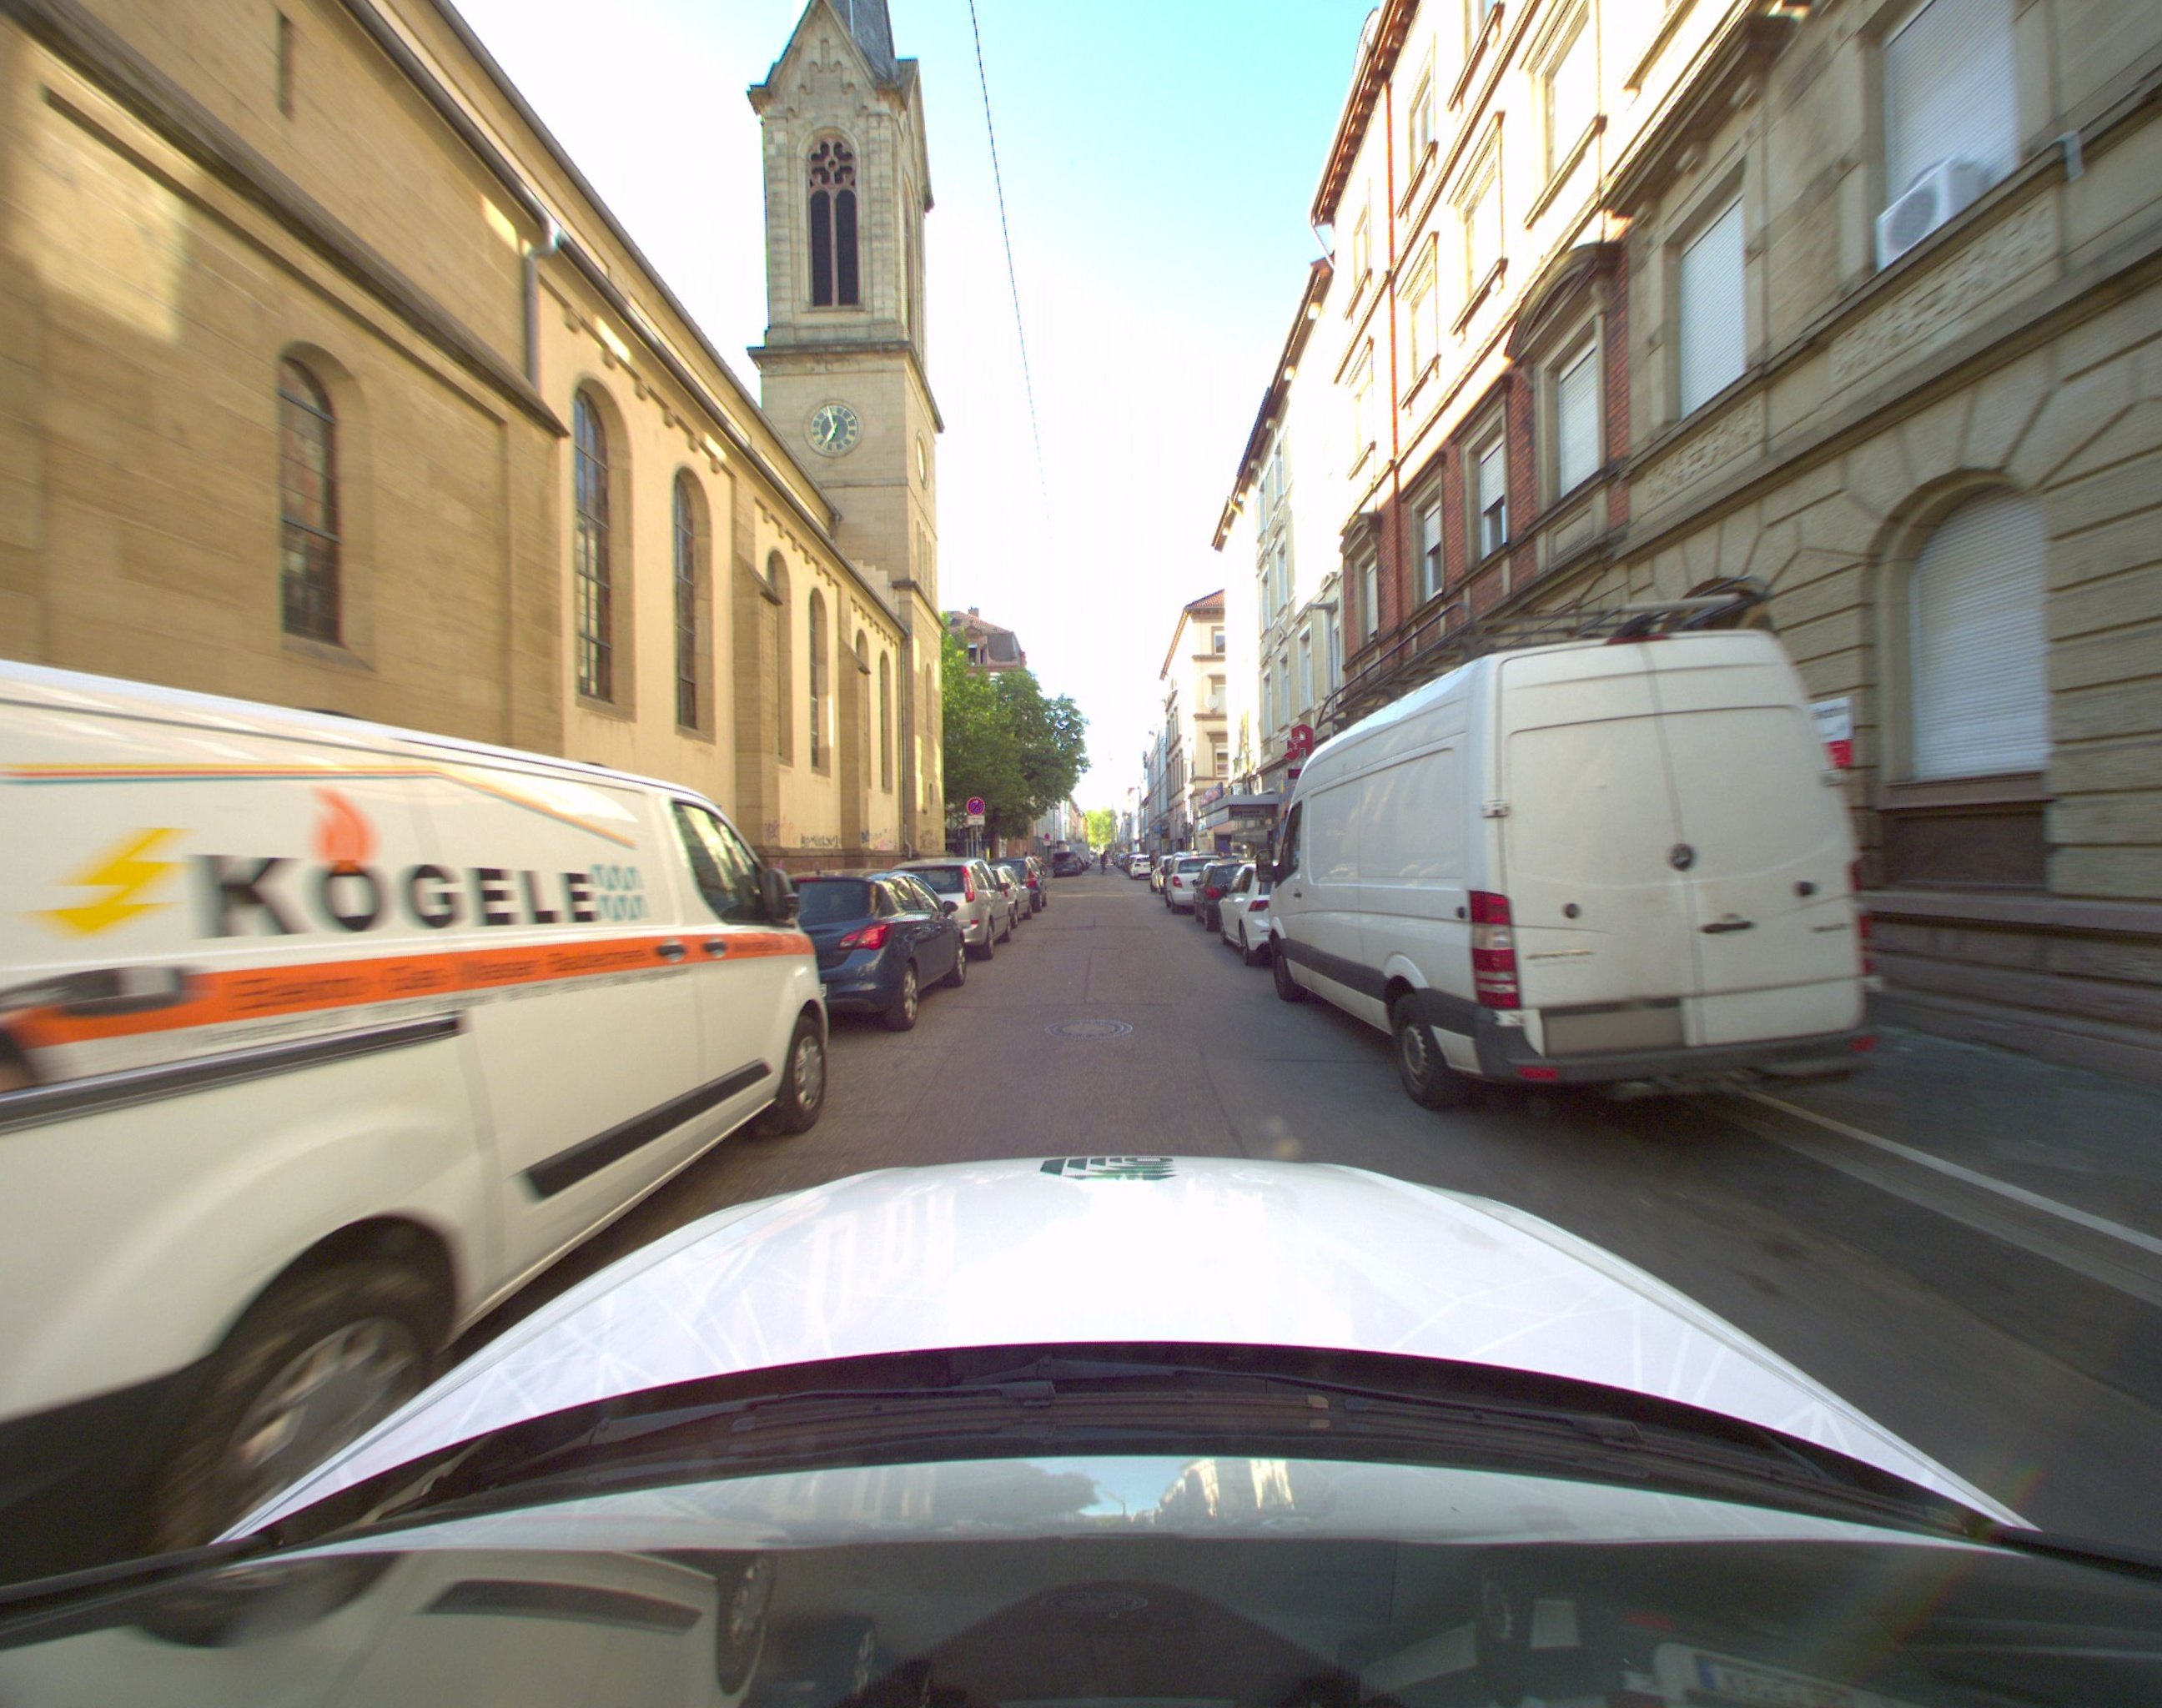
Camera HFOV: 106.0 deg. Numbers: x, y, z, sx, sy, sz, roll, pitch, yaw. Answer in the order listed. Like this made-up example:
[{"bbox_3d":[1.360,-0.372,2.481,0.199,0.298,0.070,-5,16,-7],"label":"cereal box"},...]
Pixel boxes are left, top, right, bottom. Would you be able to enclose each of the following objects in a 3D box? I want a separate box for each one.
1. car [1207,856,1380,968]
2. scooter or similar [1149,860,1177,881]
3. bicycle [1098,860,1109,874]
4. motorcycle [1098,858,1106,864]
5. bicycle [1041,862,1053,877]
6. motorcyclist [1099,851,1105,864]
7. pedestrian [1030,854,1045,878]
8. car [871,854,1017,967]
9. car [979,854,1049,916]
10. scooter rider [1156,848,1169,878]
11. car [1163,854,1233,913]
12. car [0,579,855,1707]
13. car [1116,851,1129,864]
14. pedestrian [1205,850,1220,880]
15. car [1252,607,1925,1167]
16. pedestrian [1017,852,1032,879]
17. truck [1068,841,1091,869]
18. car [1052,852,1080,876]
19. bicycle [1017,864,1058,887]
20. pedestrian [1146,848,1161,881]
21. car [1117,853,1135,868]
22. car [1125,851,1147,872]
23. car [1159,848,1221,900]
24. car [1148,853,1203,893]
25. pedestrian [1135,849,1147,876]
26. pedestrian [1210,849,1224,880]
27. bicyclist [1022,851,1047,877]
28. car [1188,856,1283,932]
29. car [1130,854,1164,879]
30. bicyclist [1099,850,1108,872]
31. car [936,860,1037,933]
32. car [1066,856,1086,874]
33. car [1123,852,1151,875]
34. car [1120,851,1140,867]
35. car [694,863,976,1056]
[{"bbox_3d":[3.173,0.782,13.063,1.773,1.486,4.362,0,0,2],"label":"car"},{"bbox_3d":[4.530,0.905,44.866,1.521,1.139,0.602,-1,0,6],"label":"scooter or similar"},{"bbox_3d":[1.727,1.014,62.441,0.736,1.043,1.860,-1,0,2],"label":"bicycle"},{"bbox_3d":[3.328,1.136,129.670,1.039,0.980,2.824,-1,0,0],"label":"motorcycle"},{"bbox_3d":[-2.516,1.150,60.462,0.644,1.108,1.599,-1,0,-9],"label":"bicycle"},{"bbox_3d":[3.315,0.545,130.007,0.899,2.013,1.190,-1,0,0],"label":"motorcyclist"},{"bbox_3d":[-3.027,0.811,56.926,0.925,1.637,0.807,-1,0,2],"label":"pedestrian"},{"bbox_3d":[-2.128,0.811,13.704,1.667,1.558,4.000,-2,0,1],"label":"car"},{"bbox_3d":[-1.897,0.853,24.176,1.594,1.614,3.809,-4,0,1],"label":"car"},{"bbox_3d":[4.489,0.498,44.875,0.646,1.642,0.684,-1,0,6],"label":"scooter rider"},{"bbox_3d":[3.185,0.766,22.790,1.597,1.505,4.003,0,0,3],"label":"car"},{"bbox_3d":[-2.489,0.611,2.982,1.857,1.957,4.611,-3,0,1],"label":"car"},{"bbox_3d":[6.460,0.569,127.927,1.986,2.013,4.002,-1,0,2],"label":"car"},{"bbox_3d":[7.294,0.621,45.171,0.546,1.642,0.600,-1,0,-39],"label":"pedestrian"},{"bbox_3d":[3.001,0.150,6.778,2.060,2.611,5.890,-1,0,2],"label":"car"},{"bbox_3d":[-3.876,0.770,55.877,0.925,1.786,0.807,-1,0,2],"label":"pedestrian"},{"bbox_3d":[-0.191,0.115,101.686,2.522,3.282,6.997,-1,0,2],"label":"truck"},{"bbox_3d":[-1.121,0.738,63.221,1.868,1.796,4.002,-1,0,2],"label":"car"},{"bbox_3d":[-2.243,1.100,42.281,1.950,1.110,0.761,-1,0,-24],"label":"bicycle"},{"bbox_3d":[4.108,0.604,46.204,0.681,1.843,0.692,-1,0,-10],"label":"pedestrian"},{"bbox_3d":[5.275,0.746,96.123,1.986,1.686,4.002,1,0,2],"label":"car"},{"bbox_3d":[4.806,0.639,71.808,1.762,1.741,4.002,-1,0,2],"label":"car"},{"bbox_3d":[3.699,0.647,28.202,1.710,1.645,4.002,-1,0,2],"label":"car"},{"bbox_3d":[3.760,0.726,33.057,1.712,1.488,3.867,-1,0,-1],"label":"car"},{"bbox_3d":[4.086,0.593,55.810,0.779,1.843,1.012,-1,0,2],"label":"pedestrian"},{"bbox_3d":[7.367,0.572,44.149,0.460,1.642,0.496,-1,-1,-39],"label":"pedestrian"},{"bbox_3d":[-2.399,0.535,42.214,1.064,1.306,0.751,-1,0,-24],"label":"bicyclist"},{"bbox_3d":[3.295,0.799,17.938,1.563,1.495,3.655,0,0,2],"label":"car"},{"bbox_3d":[4.107,0.765,51.242,1.890,1.488,3.871,-1,0,2],"label":"car"},{"bbox_3d":[1.715,0.524,62.430,0.603,1.688,0.885,-1,0,1],"label":"bicyclist"},{"bbox_3d":[-2.109,0.929,19.228,1.563,1.398,3.812,-5,0,4],"label":"car"},{"bbox_3d":[-0.475,1.107,85.035,1.868,1.796,4.002,-1,0,2],"label":"car"},{"bbox_3d":[4.206,0.683,61.462,1.890,1.651,4.002,-1,0,2],"label":"car"},{"bbox_3d":[5.111,0.540,85.291,1.986,1.632,4.002,1,0,2],"label":"car"},{"bbox_3d":[-2.273,0.889,8.638,1.609,1.451,3.952,-3,0,2],"label":"car"}]
